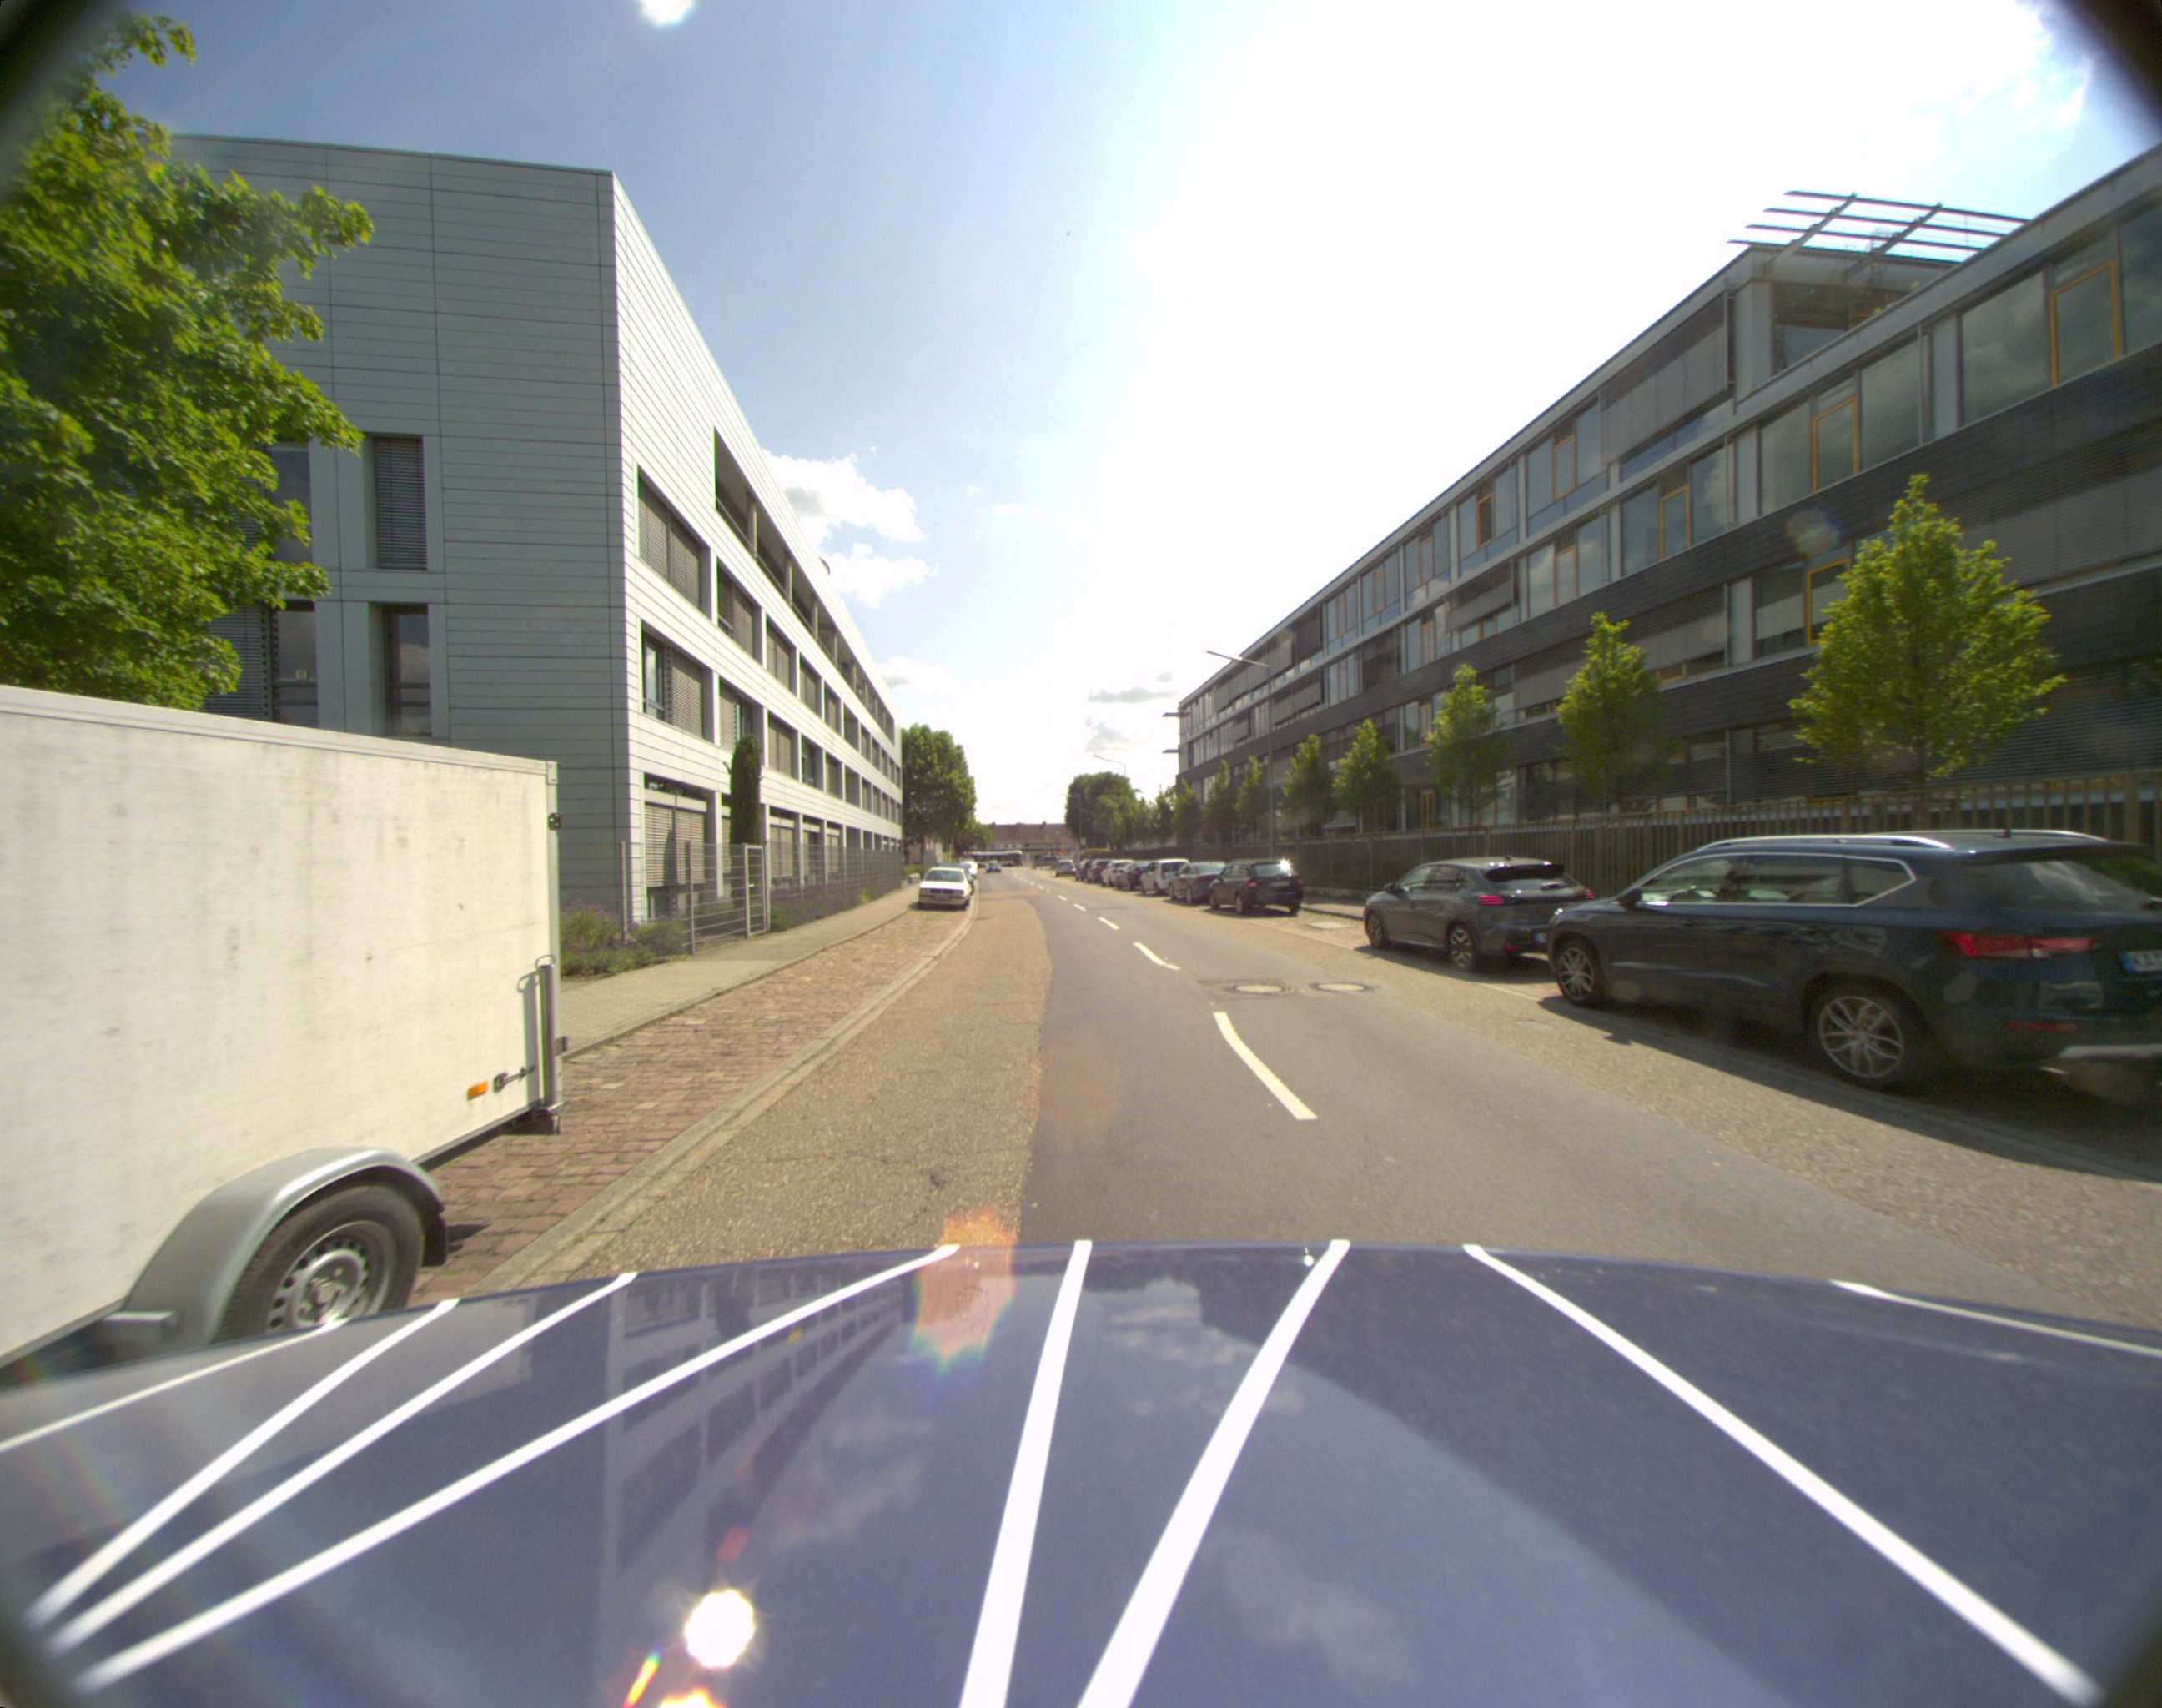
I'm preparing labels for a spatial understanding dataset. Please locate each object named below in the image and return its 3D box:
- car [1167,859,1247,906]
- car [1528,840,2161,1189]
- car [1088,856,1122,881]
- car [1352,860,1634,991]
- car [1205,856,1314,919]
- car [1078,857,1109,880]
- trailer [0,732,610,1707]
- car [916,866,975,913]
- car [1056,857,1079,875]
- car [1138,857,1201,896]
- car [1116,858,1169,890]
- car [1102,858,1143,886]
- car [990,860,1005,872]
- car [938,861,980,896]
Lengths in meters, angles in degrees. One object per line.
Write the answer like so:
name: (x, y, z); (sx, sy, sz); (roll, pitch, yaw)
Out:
car: (4.321, 0.937, 26.703); (1.667, 1.389, 4.103); (-3, 1, -7)
car: (5.628, 0.767, 5.849); (1.738, 1.646, 4.310); (-2, 0, -1)
car: (1.481, 0.873, 47.869); (1.568, 1.506, 3.740); (-1, 0, -8)
car: (5.624, 0.869, 11.017); (1.738, 1.437, 3.929); (-3, 0, -3)
car: (4.885, 0.870, 21.405); (1.667, 1.521, 3.998); (-3, 0, -7)
car: (0.816, 0.996, 53.134); (1.568, 1.506, 4.033); (-1, 0, -8)
trailer: (-3.118, 0.755, 1.580); (1.750, 2.055, 3.947); (1, 0, 1)
car: (-4.621, 1.181, 26.453); (1.678, 1.360, 4.156); (2, 0, -6)
car: (-1.230, 1.091, 69.670); (1.678, 1.506, 3.742); (-1, -2, -8)
car: (3.672, 0.904, 32.105); (1.667, 1.473, 3.513); (-3, 0, -10)
car: (2.956, 0.935, 37.206); (1.671, 1.396, 3.997); (-2, 0, -8)
car: (2.239, 0.964, 42.101); (1.568, 1.446, 3.740); (-1, 0, -8)
car: (-10.002, 1.405, 90.690); (1.661, 1.279, 3.740); (2, 0, -8)
car: (-5.906, 1.122, 36.422); (1.815, 1.496, 3.996); (2, -1, -10)
